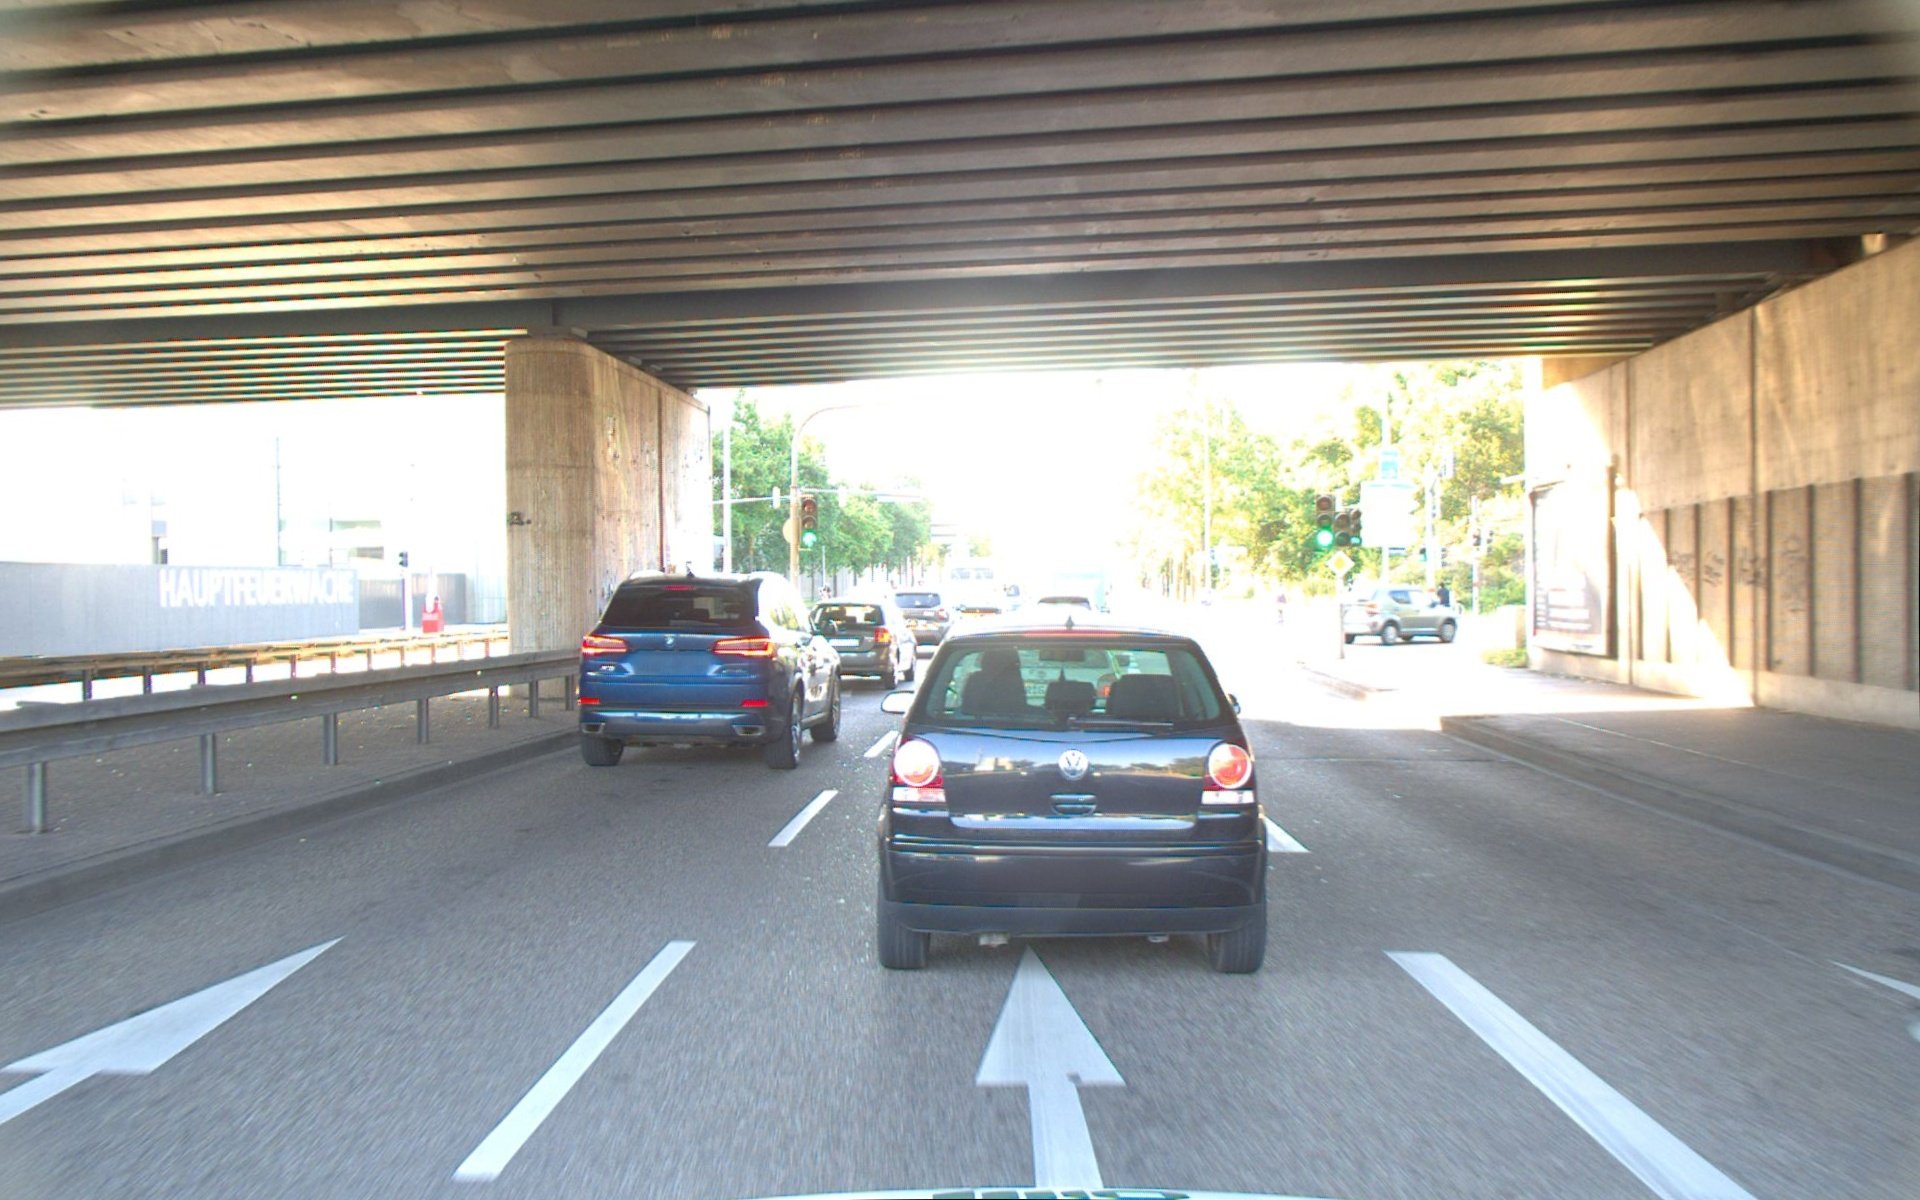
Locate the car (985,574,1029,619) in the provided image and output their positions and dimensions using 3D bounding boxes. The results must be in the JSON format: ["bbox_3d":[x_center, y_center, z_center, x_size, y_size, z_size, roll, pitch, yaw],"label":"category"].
[{"bbox_3d":[1.902,-0.129,66.198,1.582,1.709,3.685,1,0,4],"label":"car"}]

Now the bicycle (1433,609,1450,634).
[{"bbox_3d":[18.805,0.834,64.604,0.428,0.930,1.027,1,0,5],"label":"bicycle"}]

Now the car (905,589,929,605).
[{"bbox_3d":[-4.202,-0.306,162.202,1.952,1.425,4.351,-4,-1,4],"label":"car"}]

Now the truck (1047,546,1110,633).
[{"bbox_3d":[3.881,-0.321,53.725,1.954,2.715,4.002,1,0,5],"label":"truck"}]

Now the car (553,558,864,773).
[{"bbox_3d":[-2.252,0.558,16.166,1.951,1.764,4.535,1,0,5],"label":"car"}]

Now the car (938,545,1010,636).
[{"bbox_3d":[0.422,-0.266,51.233,2.093,2.621,5.087,1,0,0],"label":"car"}]

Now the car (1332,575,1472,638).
[{"bbox_3d":[12.296,0.189,45.943,4.021,1.659,1.718,1,0,-39],"label":"car"}]

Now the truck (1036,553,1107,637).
[{"bbox_3d":[3.345,-0.131,48.970,1.954,2.356,4.002,1,0,5],"label":"truck"}]

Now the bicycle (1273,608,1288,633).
[{"bbox_3d":[12.182,0.784,62.847,0.428,0.930,1.027,-2,-1,5],"label":"bicycle"}]

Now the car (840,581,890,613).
[{"bbox_3d":[-4.670,-0.152,81.941,1.952,1.501,4.082,1,0,4],"label":"car"}]

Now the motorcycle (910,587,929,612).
[{"bbox_3d":[-1.900,-0.035,77.772,0.823,1.094,2.400,-3,1,-2],"label":"motorcycle"}]

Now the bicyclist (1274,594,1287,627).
[{"bbox_3d":[12.182,0.402,62.883,0.418,1.254,0.460,-1,-1,5],"label":"bicyclist"}]

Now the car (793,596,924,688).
[{"bbox_3d":[-1.659,0.681,28.219,1.582,1.434,3.685,1,0,7],"label":"car"}]

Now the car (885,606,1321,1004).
[{"bbox_3d":[0.575,0.761,7.939,1.583,1.434,3.683,1,0,1],"label":"car"}]

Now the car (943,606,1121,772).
[{"bbox_3d":[0.629,0.789,16.554,1.546,1.438,4.062,1,0,0],"label":"car"}]

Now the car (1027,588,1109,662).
[{"bbox_3d":[2.528,0.559,37.958,1.758,1.586,4.002,1,0,5],"label":"car"}]

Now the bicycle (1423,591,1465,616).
[{"bbox_3d":[20.417,0.134,69.788,1.628,1.008,0.578,-1,3,22],"label":"bicycle"}]

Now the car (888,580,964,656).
[{"bbox_3d":[-0.776,0.425,39.783,1.583,1.709,3.684,1,0,2],"label":"car"}]

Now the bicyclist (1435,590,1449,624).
[{"bbox_3d":[18.819,0.283,64.612,0.418,1.331,0.460,1,-1,5],"label":"bicyclist"}]

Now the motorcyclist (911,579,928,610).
[{"bbox_3d":[-1.905,-0.259,77.853,0.781,1.373,1.274,-2,2,-2],"label":"motorcyclist"}]
